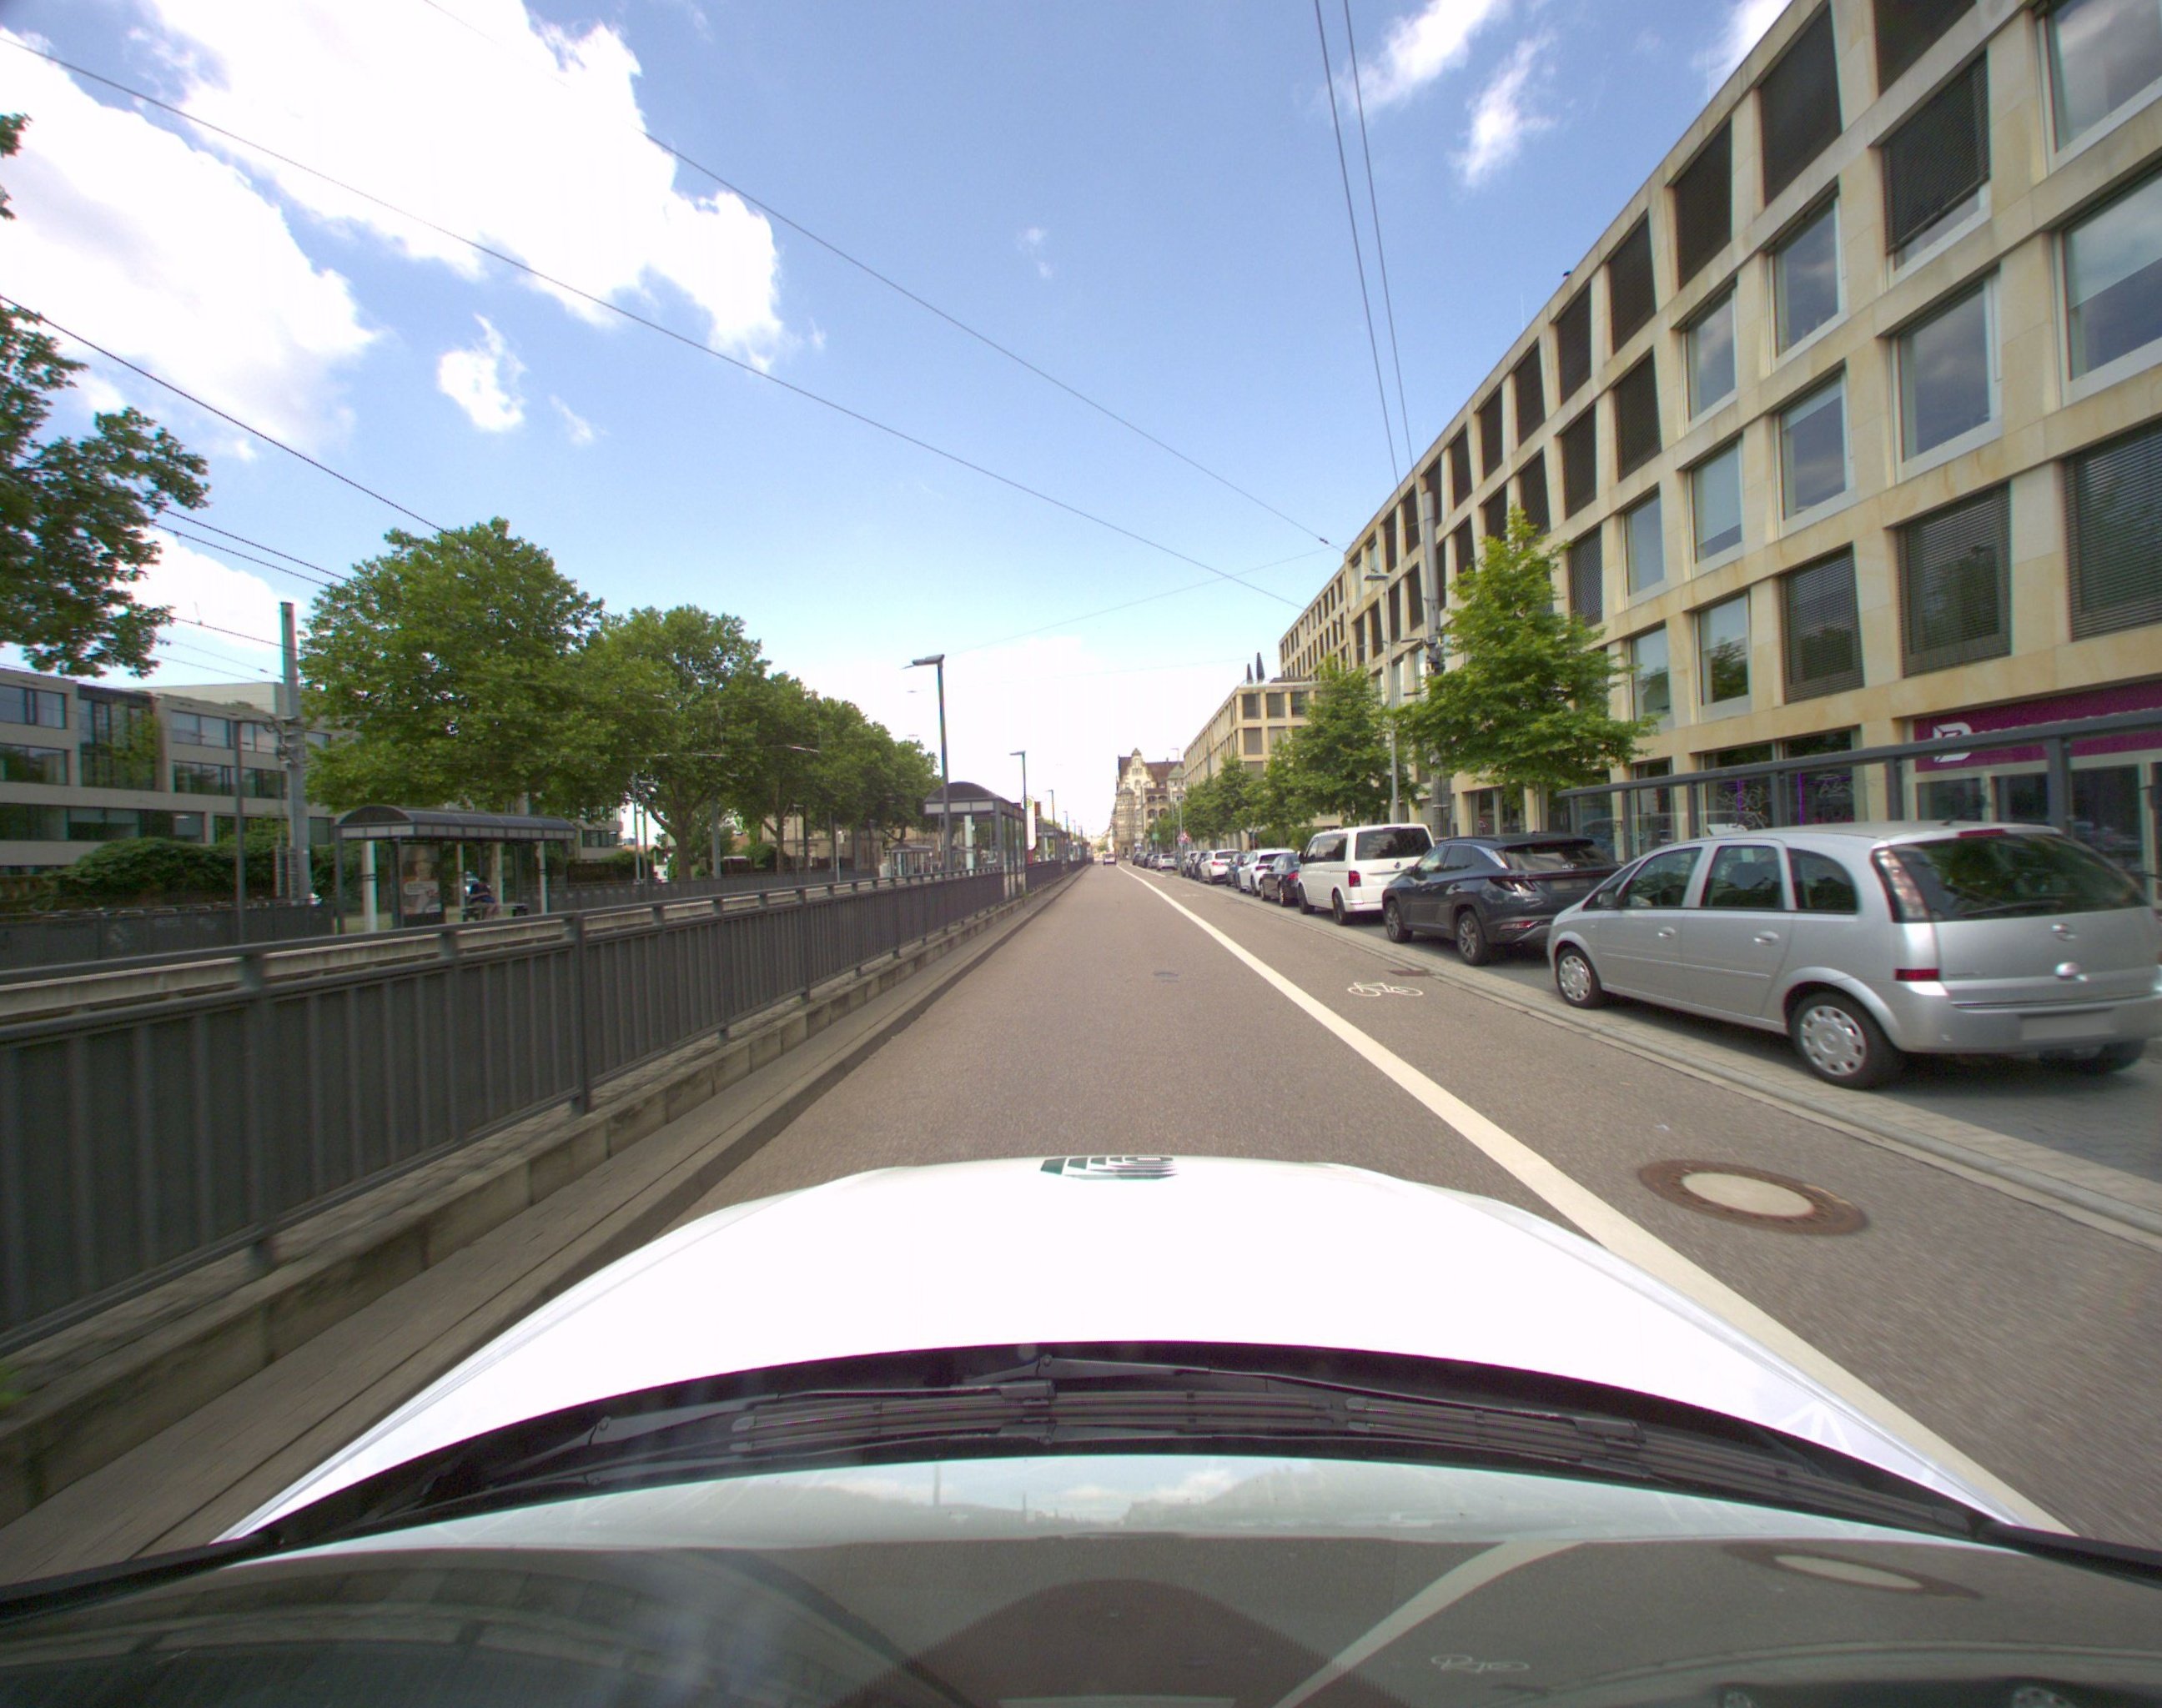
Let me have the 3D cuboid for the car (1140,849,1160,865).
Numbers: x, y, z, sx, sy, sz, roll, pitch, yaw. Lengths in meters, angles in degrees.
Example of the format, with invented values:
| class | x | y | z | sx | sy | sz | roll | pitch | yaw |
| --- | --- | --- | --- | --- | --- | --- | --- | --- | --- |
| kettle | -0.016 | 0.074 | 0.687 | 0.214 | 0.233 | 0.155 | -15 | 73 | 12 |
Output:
| class | x | y | z | sx | sy | sz | roll | pitch | yaw |
| --- | --- | --- | --- | --- | --- | --- | --- | --- | --- |
| car | 7.438 | 0.261 | 88.140 | 1.732 | 1.669 | 4.840 | -1 | 0 | 0 |

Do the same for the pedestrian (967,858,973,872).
| class | x | y | z | sx | sy | sz | roll | pitch | yaw |
| --- | --- | --- | --- | --- | --- | --- | --- | --- | --- |
| pedestrian | -13.877 | 1.380 | 101.839 | 0.498 | 1.683 | 0.643 | -4 | 0 | 2 |

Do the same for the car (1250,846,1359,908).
| class | x | y | z | sx | sy | sz | roll | pitch | yaw |
| --- | --- | --- | --- | --- | --- | --- | --- | --- | --- |
| car | 6.190 | 0.591 | 23.110 | 1.875 | 1.487 | 4.565 | -4 | 0 | 1 |

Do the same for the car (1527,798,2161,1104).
| class | x | y | z | sx | sy | sz | roll | pitch | yaw |
| --- | --- | --- | --- | --- | --- | --- | --- | --- | --- |
| car | 5.424 | 0.530 | 6.427 | 1.715 | 1.620 | 3.861 | -3 | 0 | 1 |

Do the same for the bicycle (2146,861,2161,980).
| class | x | y | z | sx | sy | sz | roll | pitch | yaw |
| --- | --- | --- | --- | --- | --- | --- | --- | --- | --- |
| bicycle | 10.529 | 0.587 | 7.131 | 1.835 | 1.056 | 0.439 | 0 | -1 | 0 |

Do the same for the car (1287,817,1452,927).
| class | x | y | z | sx | sy | sz | roll | pitch | yaw |
| --- | --- | --- | --- | --- | --- | --- | --- | --- | --- |
| car | 6.020 | 0.336 | 17.681 | 1.875 | 1.939 | 4.845 | -4 | 0 | 1 |

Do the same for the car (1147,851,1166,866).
| class | x | y | z | sx | sy | sz | roll | pitch | yaw |
| --- | --- | --- | --- | --- | --- | --- | --- | --- | --- |
| car | 7.600 | 0.426 | 82.384 | 1.586 | 1.434 | 4.106 | -1 | 0 | 0 |

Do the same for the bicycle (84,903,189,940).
| class | x | y | z | sx | sy | sz | roll | pitch | yaw |
| --- | --- | --- | --- | --- | --- | --- | --- | --- | --- |
| bicycle | -31.458 | 2.238 | 27.129 | 3.023 | 1.167 | 0.635 | 0 | 0 | 6 |

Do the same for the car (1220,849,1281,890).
| class | x | y | z | sx | sy | sz | roll | pitch | yaw |
| --- | --- | --- | --- | --- | --- | --- | --- | --- | --- |
| car | 6.878 | 0.596 | 33.401 | 1.679 | 1.457 | 3.952 | -4 | 0 | 1 |

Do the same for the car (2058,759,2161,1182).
| class | x | y | z | sx | sy | sz | roll | pitch | yaw |
| --- | --- | --- | --- | --- | --- | --- | --- | --- | --- |
| car | 5.305 | 0.453 | 1.278 | 1.762 | 1.767 | 4.841 | -3 | 0 | 1 |

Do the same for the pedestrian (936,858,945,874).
| class | x | y | z | sx | sy | sz | roll | pitch | yaw |
| --- | --- | --- | --- | --- | --- | --- | --- | --- | --- |
| pedestrian | -13.432 | 1.123 | 77.908 | 0.701 | 1.512 | 0.800 | -3 | 0 | -9 |

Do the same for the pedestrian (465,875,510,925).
| class | x | y | z | sx | sy | sz | roll | pitch | yaw |
| --- | --- | --- | --- | --- | --- | --- | --- | --- | --- |
| pedestrian | -15.975 | 1.226 | 21.934 | 0.550 | 1.269 | 0.768 | -3 | 0 | 3 |

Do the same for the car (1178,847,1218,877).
| class | x | y | z | sx | sy | sz | roll | pitch | yaw |
| --- | --- | --- | --- | --- | --- | --- | --- | --- | --- |
| car | 7.065 | 0.468 | 49.542 | 1.680 | 1.633 | 3.989 | -5 | 0 | -1 |

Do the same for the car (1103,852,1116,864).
| class | x | y | z | sx | sy | sz | roll | pitch | yaw |
| --- | --- | --- | --- | --- | --- | --- | --- | --- | --- |
| car | 4.099 | 0.555 | 117.227 | 1.862 | 1.746 | 4.001 | -1 | 0 | 1 |

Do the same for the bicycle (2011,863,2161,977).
| class | x | y | z | sx | sy | sz | roll | pitch | yaw |
| --- | --- | --- | --- | --- | --- | --- | --- | --- | --- |
| bicycle | 10.125 | 0.618 | 7.827 | 1.835 | 1.056 | 0.476 | 0 | -1 | 0 |

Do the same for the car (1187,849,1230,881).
| class | x | y | z | sx | sy | sz | roll | pitch | yaw |
| --- | --- | --- | --- | --- | --- | --- | --- | --- | --- |
| car | 6.864 | 0.577 | 44.144 | 1.679 | 1.548 | 3.927 | -4 | 0 | 1 |

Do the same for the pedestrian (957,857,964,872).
| class | x | y | z | sx | sy | sz | roll | pitch | yaw |
| --- | --- | --- | --- | --- | --- | --- | --- | --- | --- |
| pedestrian | -13.503 | 1.180 | 91.261 | 0.498 | 1.558 | 0.643 | -3 | 0 | 2 |

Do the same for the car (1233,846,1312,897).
| class | x | y | z | sx | sy | sz | roll | pitch | yaw |
| --- | --- | --- | --- | --- | --- | --- | --- | --- | --- |
| car | 6.573 | 0.557 | 28.425 | 1.786 | 1.529 | 4.160 | -4 | 0 | 1 |

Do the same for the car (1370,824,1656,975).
| class | x | y | z | sx | sy | sz | roll | pitch | yaw |
| --- | --- | --- | --- | --- | --- | --- | --- | --- | --- |
| car | 5.818 | 0.524 | 11.712 | 1.715 | 1.640 | 4.529 | -4 | 0 | 1 |

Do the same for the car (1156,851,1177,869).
| class | x | y | z | sx | sy | sz | roll | pitch | yaw |
| --- | --- | --- | --- | --- | --- | --- | --- | --- | --- |
| car | 7.486 | 0.508 | 71.276 | 1.585 | 1.460 | 3.615 | -1 | 0 | 3 |

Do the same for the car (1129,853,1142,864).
| class | x | y | z | sx | sy | sz | roll | pitch | yaw |
| --- | --- | --- | --- | --- | --- | --- | --- | --- | --- |
| car | 7.262 | 0.605 | 109.231 | 1.438 | 1.470 | 4.091 | -1 | 0 | 0 |

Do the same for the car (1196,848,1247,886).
| class | x | y | z | sx | sy | sz | roll | pitch | yaw |
| --- | --- | --- | --- | --- | --- | --- | --- | --- | --- |
| car | 6.613 | 0.568 | 38.663 | 1.679 | 1.606 | 4.153 | -4 | 0 | 1 |
